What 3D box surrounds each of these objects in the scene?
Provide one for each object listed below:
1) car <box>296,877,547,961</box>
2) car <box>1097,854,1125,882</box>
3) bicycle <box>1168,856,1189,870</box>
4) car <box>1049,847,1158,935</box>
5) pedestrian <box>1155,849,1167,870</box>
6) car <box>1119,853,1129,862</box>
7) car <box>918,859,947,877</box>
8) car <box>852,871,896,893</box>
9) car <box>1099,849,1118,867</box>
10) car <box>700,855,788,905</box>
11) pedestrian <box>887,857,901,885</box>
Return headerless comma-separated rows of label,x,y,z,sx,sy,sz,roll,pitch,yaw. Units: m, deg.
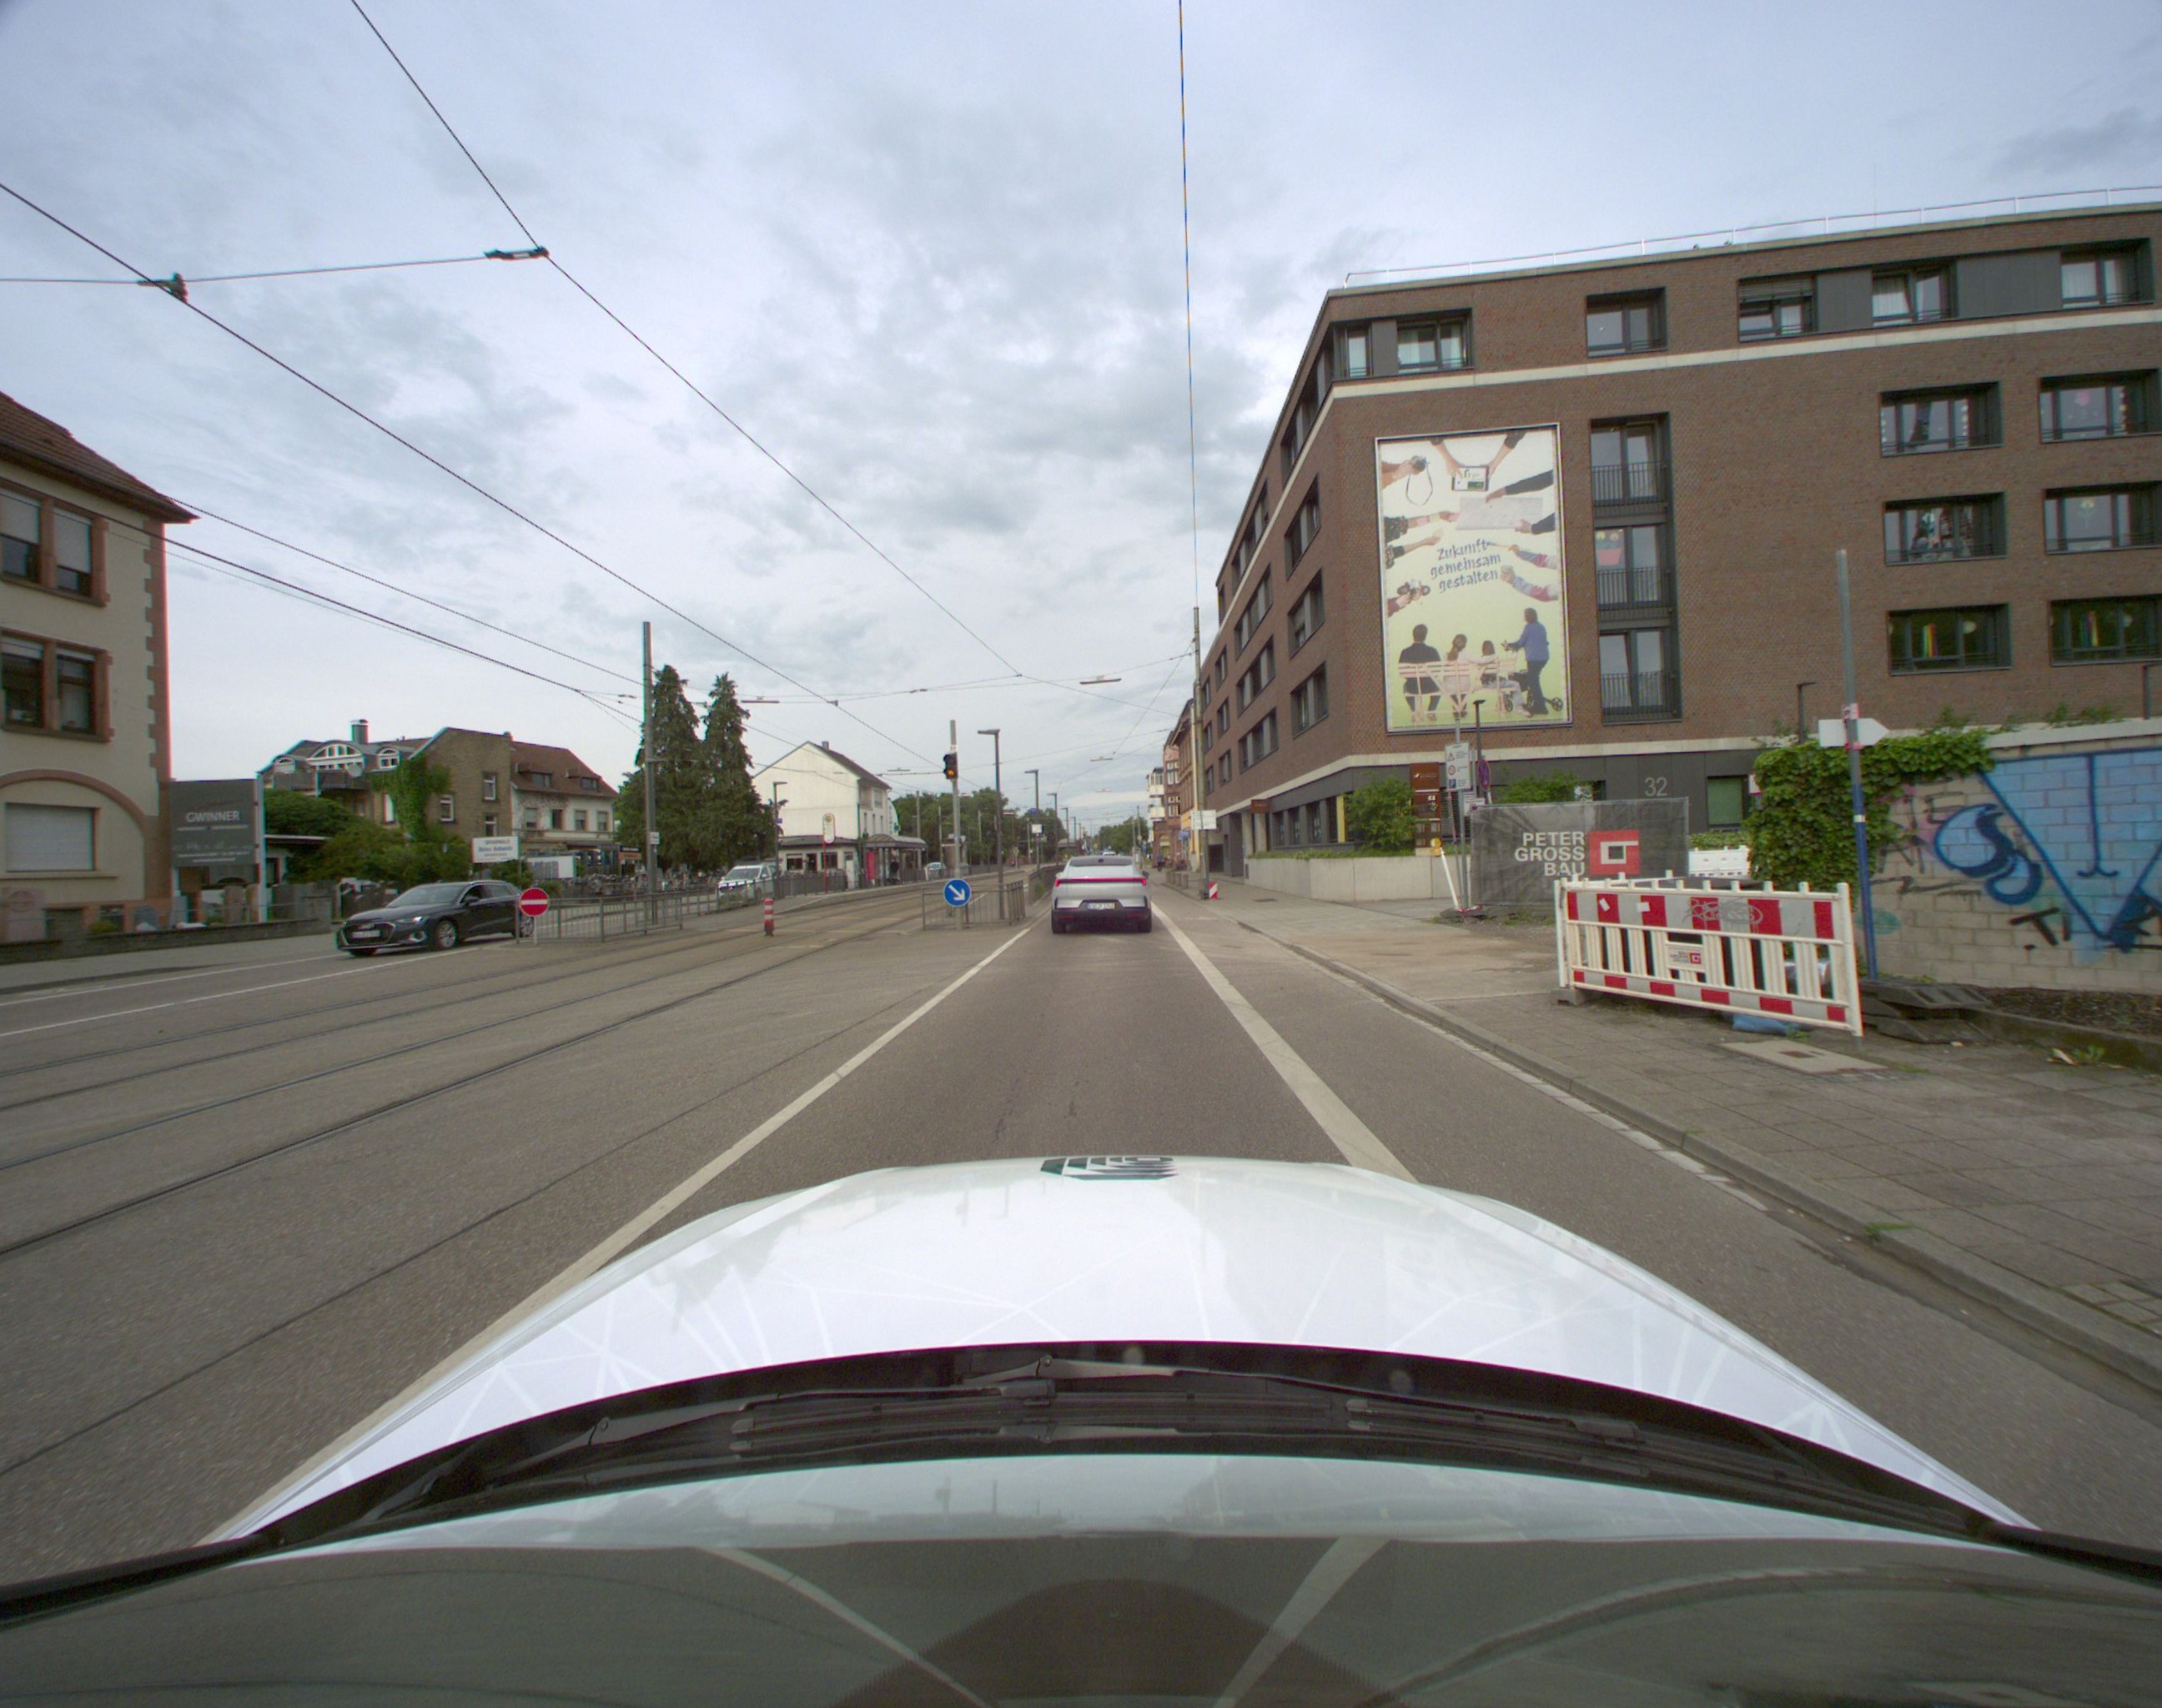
car,-14.141,1.308,17.889,1.876,1.428,4.423,-3,0,-1
car,1.884,0.871,51.602,1.674,1.687,3.825,-1,-1,2
bicycle,8.754,0.832,73.147,1.771,1.129,0.642,-5,0,1
car,0.341,0.716,17.006,1.994,1.581,3.996,-1,-1,-2
pedestrian,7.284,0.501,74.003,0.955,1.850,0.978,-4,0,8
car,12.351,0.925,232.573,2.796,2.505,5.725,-1,-1,2
car,-14.034,1.309,77.074,1.857,1.486,4.001,-5,0,1
car,-14.037,1.858,55.455,1.743,1.299,3.836,-3,-1,3
car,3.718,0.561,109.630,2.220,2.402,5.119,-1,-1,-1
car,-14.637,1.089,35.658,1.878,1.988,4.525,-3,-1,0
pedestrian,-11.078,1.002,48.276,0.613,1.664,0.697,-1,-1,2
